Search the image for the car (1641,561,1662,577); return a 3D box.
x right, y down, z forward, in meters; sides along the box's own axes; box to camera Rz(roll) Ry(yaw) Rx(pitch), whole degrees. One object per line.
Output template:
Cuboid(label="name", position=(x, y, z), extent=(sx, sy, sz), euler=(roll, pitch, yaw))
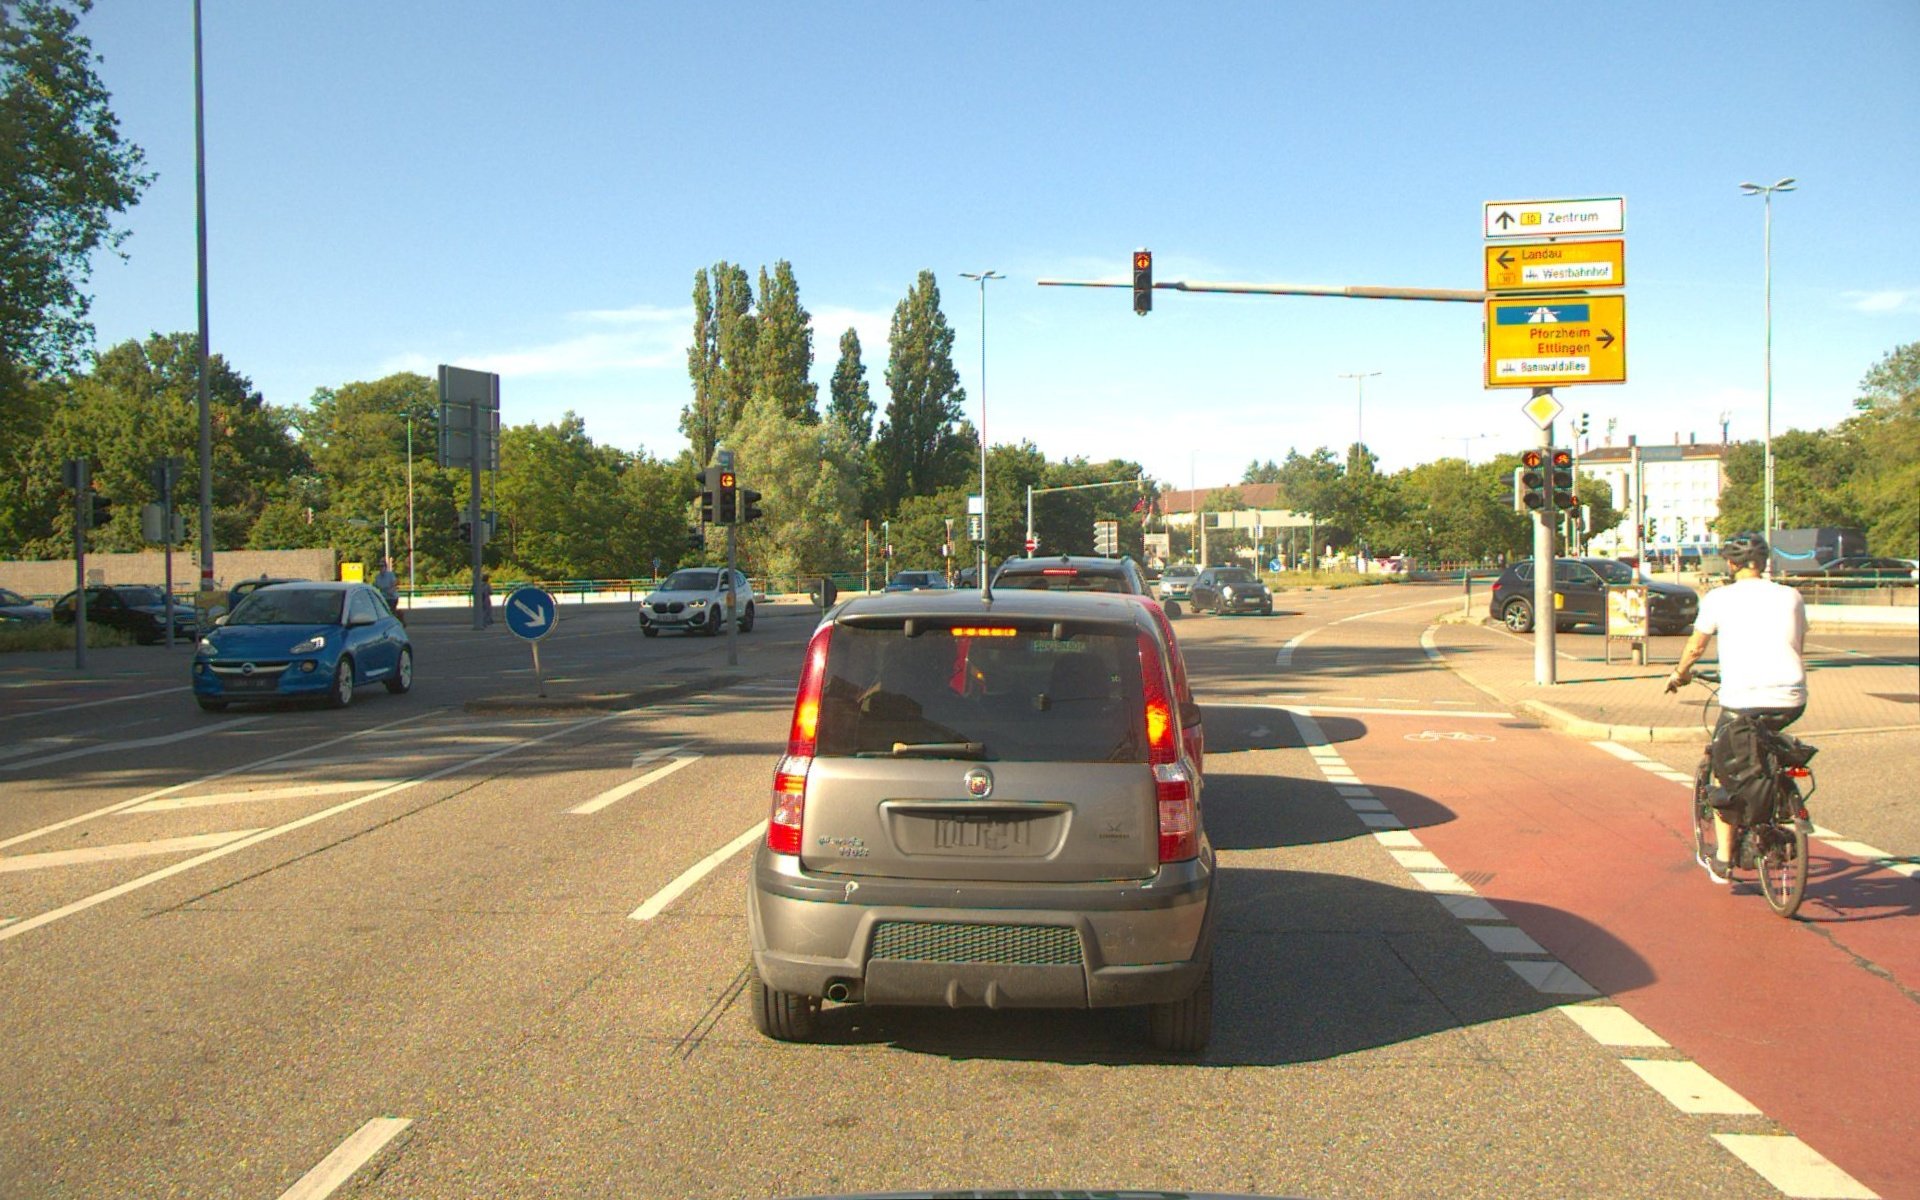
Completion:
Cuboid(label="car", position=(78.961, -3.552, 188.906), extent=(1.954, 1.668, 3.997), euler=(-1, 1, 26))

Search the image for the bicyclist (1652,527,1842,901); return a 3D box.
Cuboid(label="bicyclist", position=(3.946, 0.519, 8.349), extent=(0.783, 1.734, 1.085), euler=(1, 1, 24))

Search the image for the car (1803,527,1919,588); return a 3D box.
Cuboid(label="car", position=(33.668, -1.544, 61.372), extent=(3.923, 2.049, 1.991), euler=(-1, -2, 38))

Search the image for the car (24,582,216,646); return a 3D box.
Cuboid(label="car", position=(-20.710, 0.344, 40.779), extent=(4.346, 1.464, 1.826), euler=(-1, 1, 22))

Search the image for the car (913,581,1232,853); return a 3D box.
Cuboid(label="car", position=(0.783, 0.639, 11.326), extent=(1.782, 1.505, 4.002), euler=(1, 0, 4))

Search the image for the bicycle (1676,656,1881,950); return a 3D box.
Cuboid(label="bicycle", position=(4.044, 0.910, 8.312), extent=(0.783, 1.130, 2.401), euler=(1, 1, 24))

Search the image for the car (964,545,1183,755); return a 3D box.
Cuboid(label="car", position=(1.290, 0.392, 16.783), extent=(1.829, 1.821, 4.418), euler=(1, 1, 9))

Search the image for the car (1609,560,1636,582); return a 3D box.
Cuboid(label="car", position=(61.567, -2.669, 153.761), extent=(1.955, 1.825, 3.995), euler=(-1, -2, 27))

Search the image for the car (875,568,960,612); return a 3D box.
Cuboid(label="car", position=(-1.476, -0.349, 58.875), extent=(1.651, 1.482, 3.914), euler=(-1, 0, 21))

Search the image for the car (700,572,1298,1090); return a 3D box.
Cuboid(label="car", position=(0.224, 0.669, 7.040), extent=(1.782, 1.515, 4.002), euler=(2, 1, 3))

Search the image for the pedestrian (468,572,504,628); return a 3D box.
Cuboid(label="pedestrian", position=(-13.983, -0.003, 48.796), extent=(0.673, 1.565, 1.365), euler=(0, -4, -2))

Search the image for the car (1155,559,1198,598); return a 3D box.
Cuboid(label="car", position=(9.069, -0.939, 69.512), extent=(1.713, 1.519, 4.353), euler=(0, 2, 7))

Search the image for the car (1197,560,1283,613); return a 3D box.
Cuboid(label="car", position=(8.638, -0.382, 51.308), extent=(1.953, 1.479, 3.999), euler=(1, -2, 0))

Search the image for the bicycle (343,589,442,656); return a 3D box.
Cuboid(label="bicycle", position=(-11.573, 0.439, 33.821), extent=(0.672, 1.223, 2.329), euler=(-1, 3, 16))

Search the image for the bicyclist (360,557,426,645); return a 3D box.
Cuboid(label="bicyclist", position=(-11.583, 0.009, 33.810), extent=(0.672, 1.730, 1.199), euler=(-1, 2, 16))

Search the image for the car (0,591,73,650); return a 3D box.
Cuboid(label="car", position=(-26.079, 0.550, 44.170), extent=(4.346, 1.464, 1.826), euler=(-1, 1, 22))

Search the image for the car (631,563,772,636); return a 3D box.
Cuboid(label="car", position=(-6.303, -0.049, 40.918), extent=(1.794, 1.682, 4.633), euler=(-1, 1, 14))

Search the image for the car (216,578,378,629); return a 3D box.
Cuboid(label="car", position=(-20.324, 0.102, 50.714), extent=(4.342, 1.464, 1.828), euler=(-1, 1, 15))

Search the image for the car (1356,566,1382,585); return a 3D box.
Cuboid(label="car", position=(45.343, -2.682, 183.284), extent=(1.973, 1.887, 4.427), euler=(0, -2, 26))

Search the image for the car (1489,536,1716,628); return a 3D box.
Cuboid(label="car", position=(14.068, -0.332, 36.425), extent=(1.978, 1.868, 4.304), euler=(1, -2, -36))

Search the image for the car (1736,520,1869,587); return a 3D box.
Cuboid(label="car", position=(36.338, -1.954, 71.450), extent=(2.223, 2.653, 4.851), euler=(1, -2, -23))

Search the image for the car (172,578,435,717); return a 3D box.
Cuboid(label="car", position=(-8.136, 0.502, 20.966), extent=(1.784, 1.529, 4.448), euler=(-1, 1, -4))
